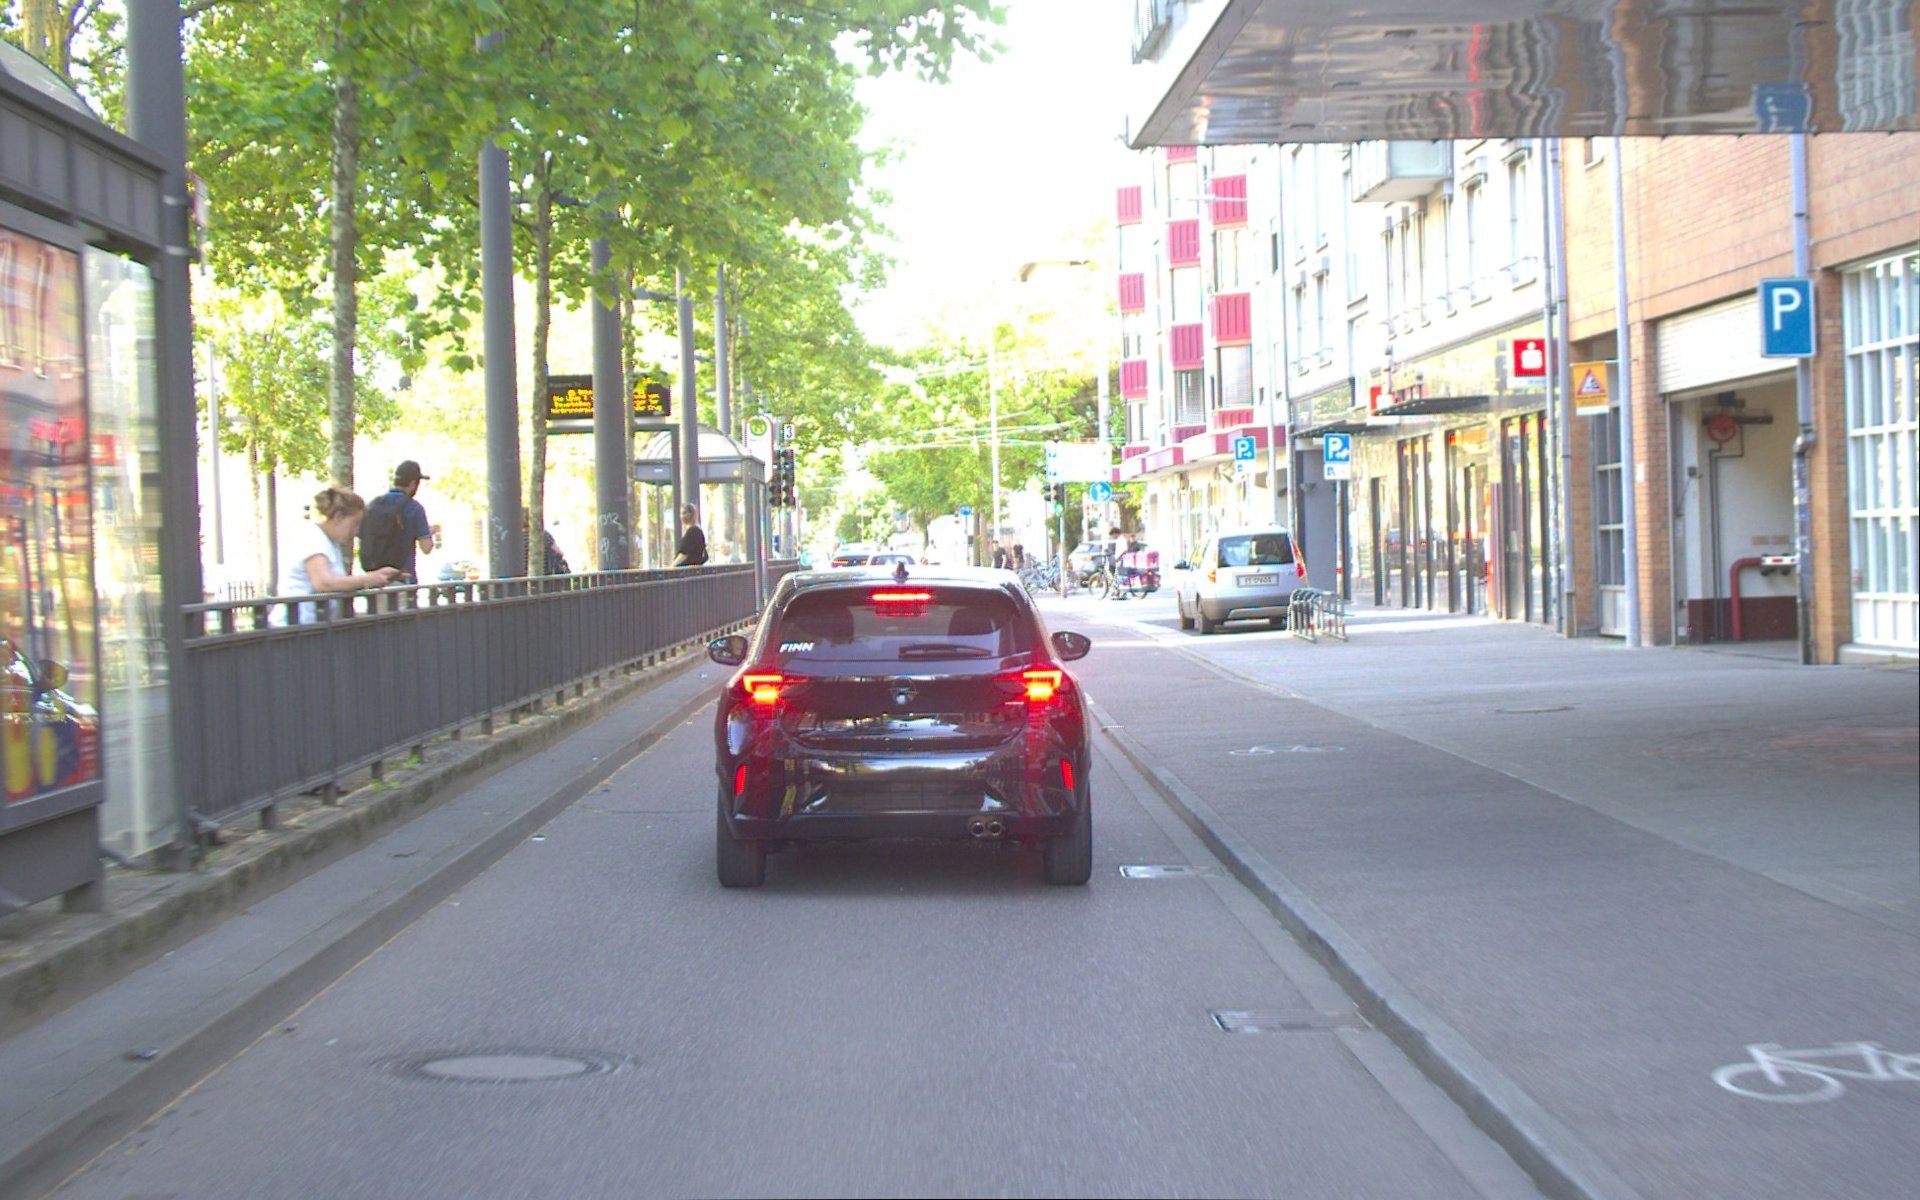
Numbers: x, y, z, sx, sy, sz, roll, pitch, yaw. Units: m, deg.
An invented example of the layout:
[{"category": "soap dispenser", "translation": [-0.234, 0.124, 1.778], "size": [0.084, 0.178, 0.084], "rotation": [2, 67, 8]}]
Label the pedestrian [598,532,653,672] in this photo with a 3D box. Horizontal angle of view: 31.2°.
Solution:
[{"category": "pedestrian", "translation": [-4.526, 0.025, 46.576], "size": [0.645, 1.865, 0.753], "rotation": [-1, 1, 0]}]

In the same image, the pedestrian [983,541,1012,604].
[{"category": "pedestrian", "translation": [1.046, -0.778, 95.945], "size": [0.734, 1.741, 0.712], "rotation": [-1, 1, 4]}]

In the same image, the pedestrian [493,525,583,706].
[{"category": "pedestrian", "translation": [-4.030, 0.138, 32.880], "size": [0.729, 1.696, 0.863], "rotation": [-1, 1, 1]}]

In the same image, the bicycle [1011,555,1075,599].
[{"category": "bicycle", "translation": [2.414, -0.673, 100.266], "size": [1.831, 1.216, 0.496], "rotation": [-1, 1, 2]}]

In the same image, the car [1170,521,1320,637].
[{"category": "car", "translation": [4.397, -0.340, 53.661], "size": [1.832, 1.617, 4.285], "rotation": [-4, 1, -1]}]

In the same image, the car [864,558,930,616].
[{"category": "car", "translation": [-1.771, -0.386, 97.614], "size": [1.832, 1.617, 4.285], "rotation": [0, 1, -1]}]

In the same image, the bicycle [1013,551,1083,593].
[{"category": "bicycle", "translation": [2.533, -0.804, 98.703], "size": [1.939, 1.166, 0.572], "rotation": [-2, 0, -4]}]

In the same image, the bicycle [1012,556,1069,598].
[{"category": "bicycle", "translation": [2.353, -0.684, 100.837], "size": [1.623, 1.195, 0.496], "rotation": [-2, 0, 3]}]

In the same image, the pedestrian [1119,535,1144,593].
[{"category": "pedestrian", "translation": [5.616, -1.181, 112.714], "size": [0.722, 1.851, 0.801], "rotation": [-2, 0, -2]}]

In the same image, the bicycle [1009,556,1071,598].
[{"category": "bicycle", "translation": [2.363, -0.683, 101.540], "size": [1.802, 1.195, 0.545], "rotation": [-2, -1, 3]}]

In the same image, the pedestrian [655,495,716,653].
[{"category": "pedestrian", "translation": [-3.328, -0.319, 41.719], "size": [0.646, 1.880, 0.661], "rotation": [-1, 1, -1]}]

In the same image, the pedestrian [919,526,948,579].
[{"category": "pedestrian", "translation": [-1.030, -1.824, 133.076], "size": [1.036, 2.017, 1.212], "rotation": [-1, 0, -3]}]

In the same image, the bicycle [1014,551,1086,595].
[{"category": "bicycle", "translation": [2.603, -0.784, 99.399], "size": [1.976, 1.195, 0.591], "rotation": [-2, 0, -5]}]

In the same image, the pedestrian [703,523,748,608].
[{"category": "pedestrian", "translation": [-3.700, -0.540, 54.250], "size": [0.626, 1.315, 0.801], "rotation": [-1, 1, 0]}]

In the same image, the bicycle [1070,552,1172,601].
[{"category": "bicycle", "translation": [4.065, -0.588, 87.083], "size": [0.961, 1.179, 2.596], "rotation": [-2, 1, -44]}]

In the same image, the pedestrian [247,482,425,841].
[{"category": "pedestrian", "translation": [-2.993, 0.289, 16.544], "size": [0.740, 1.684, 0.645], "rotation": [1, 0, -2]}]

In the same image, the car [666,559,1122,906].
[{"category": "car", "translation": [-0.302, 0.537, 16.691], "size": [1.905, 1.420, 4.215], "rotation": [-1, 1, -1]}]

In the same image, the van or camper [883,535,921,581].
[{"category": "van or camper", "translation": [-3.842, -2.785, 229.541], "size": [2.486, 2.983, 5.434], "rotation": [0, 0, -1]}]

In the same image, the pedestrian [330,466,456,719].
[{"category": "pedestrian", "translation": [-4.105, -0.060, 24.953], "size": [0.706, 1.796, 0.827], "rotation": [-1, 1, 3]}]

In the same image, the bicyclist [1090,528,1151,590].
[{"category": "bicyclist", "translation": [4.056, -1.030, 87.061], "size": [1.057, 1.534, 1.078], "rotation": [-2, 1, -45]}]

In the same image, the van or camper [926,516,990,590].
[{"category": "van or camper", "translation": [-0.127, -2.124, 155.901], "size": [2.375, 3.114, 7.551], "rotation": [-4, 1, -3]}]
